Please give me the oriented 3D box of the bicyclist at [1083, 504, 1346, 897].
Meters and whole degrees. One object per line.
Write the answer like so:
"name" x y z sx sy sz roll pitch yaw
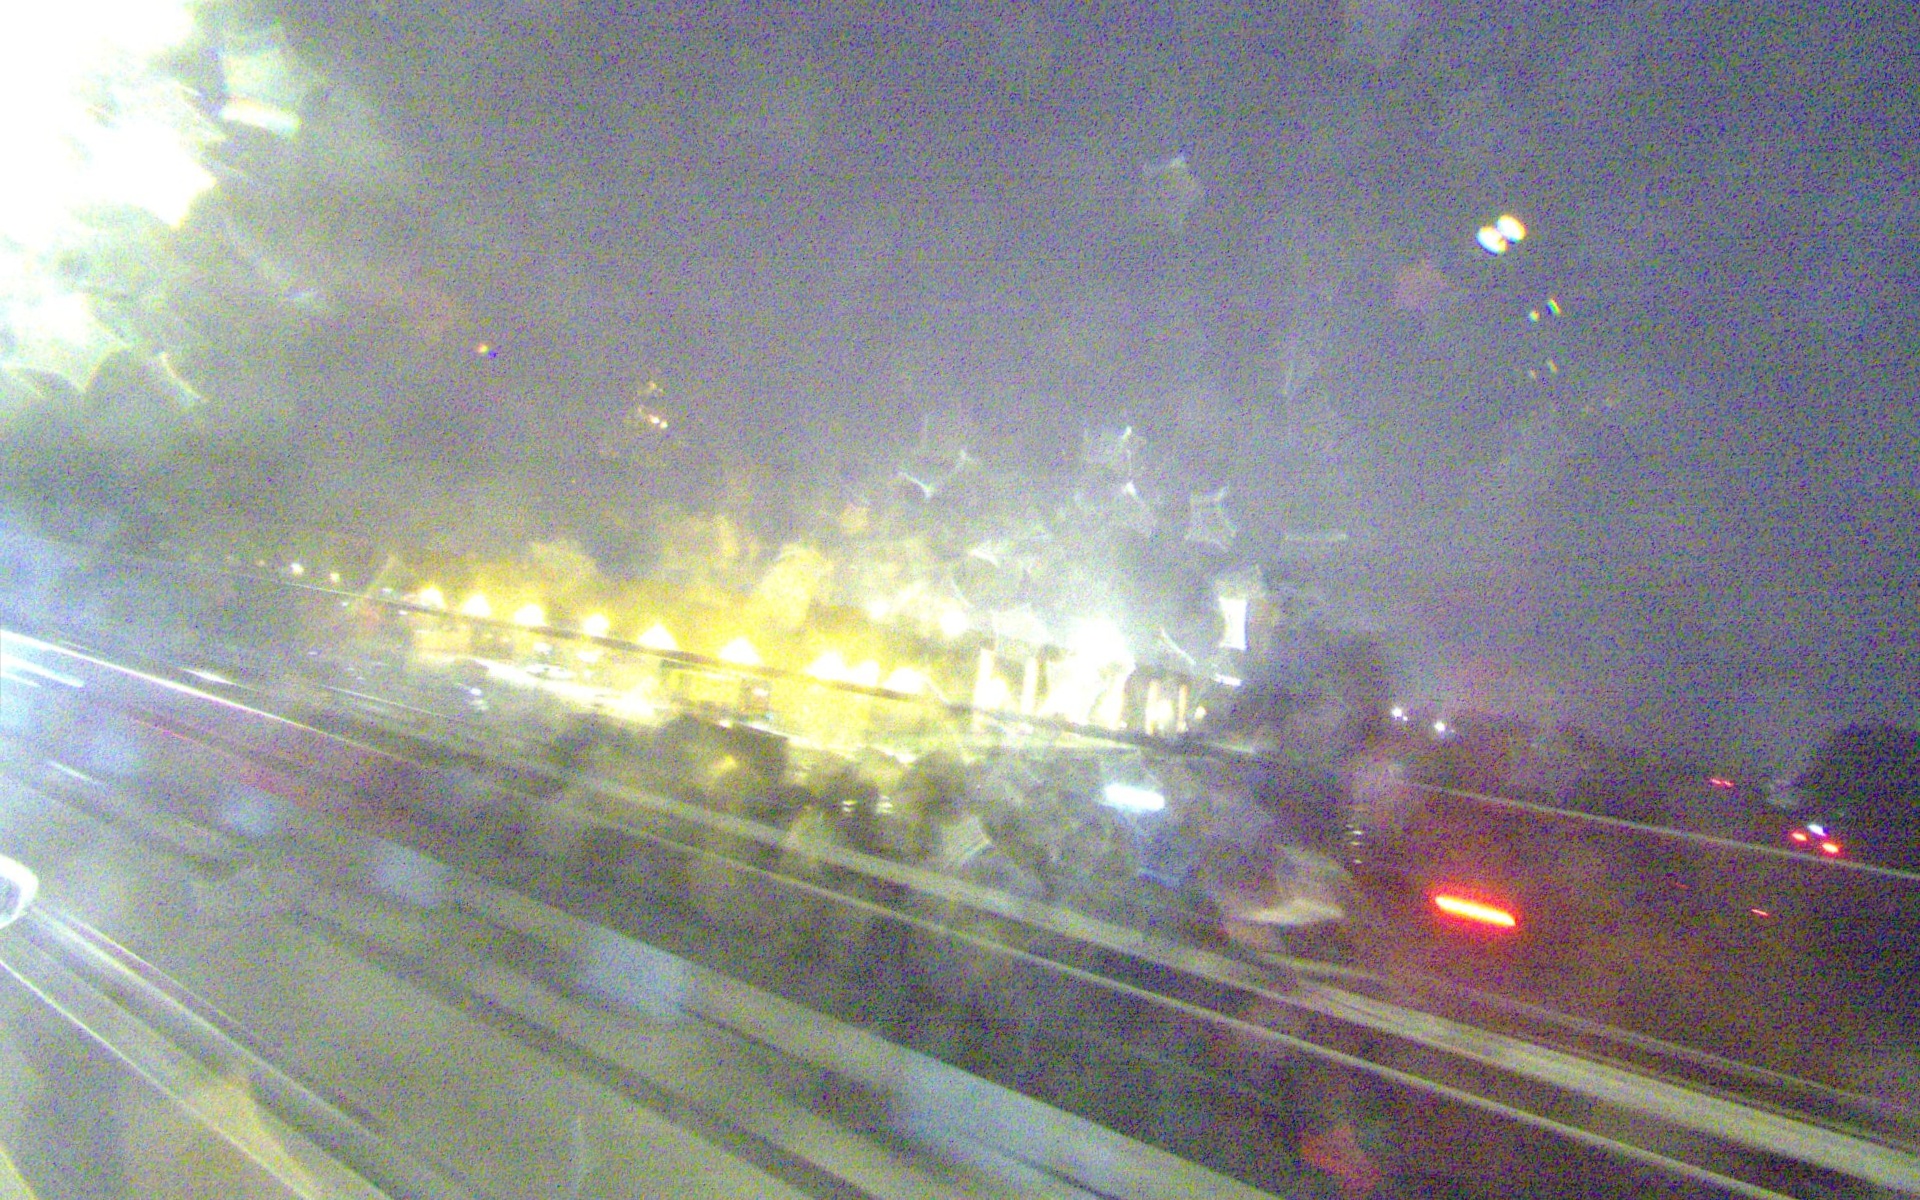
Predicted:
"bicyclist" 1.007 0.362 3.968 0.751 1.365 0.453 7 -1 30

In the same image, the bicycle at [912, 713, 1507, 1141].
"bicycle" 0.886 1.129 3.974 2.135 1.047 0.485 6 -1 31
